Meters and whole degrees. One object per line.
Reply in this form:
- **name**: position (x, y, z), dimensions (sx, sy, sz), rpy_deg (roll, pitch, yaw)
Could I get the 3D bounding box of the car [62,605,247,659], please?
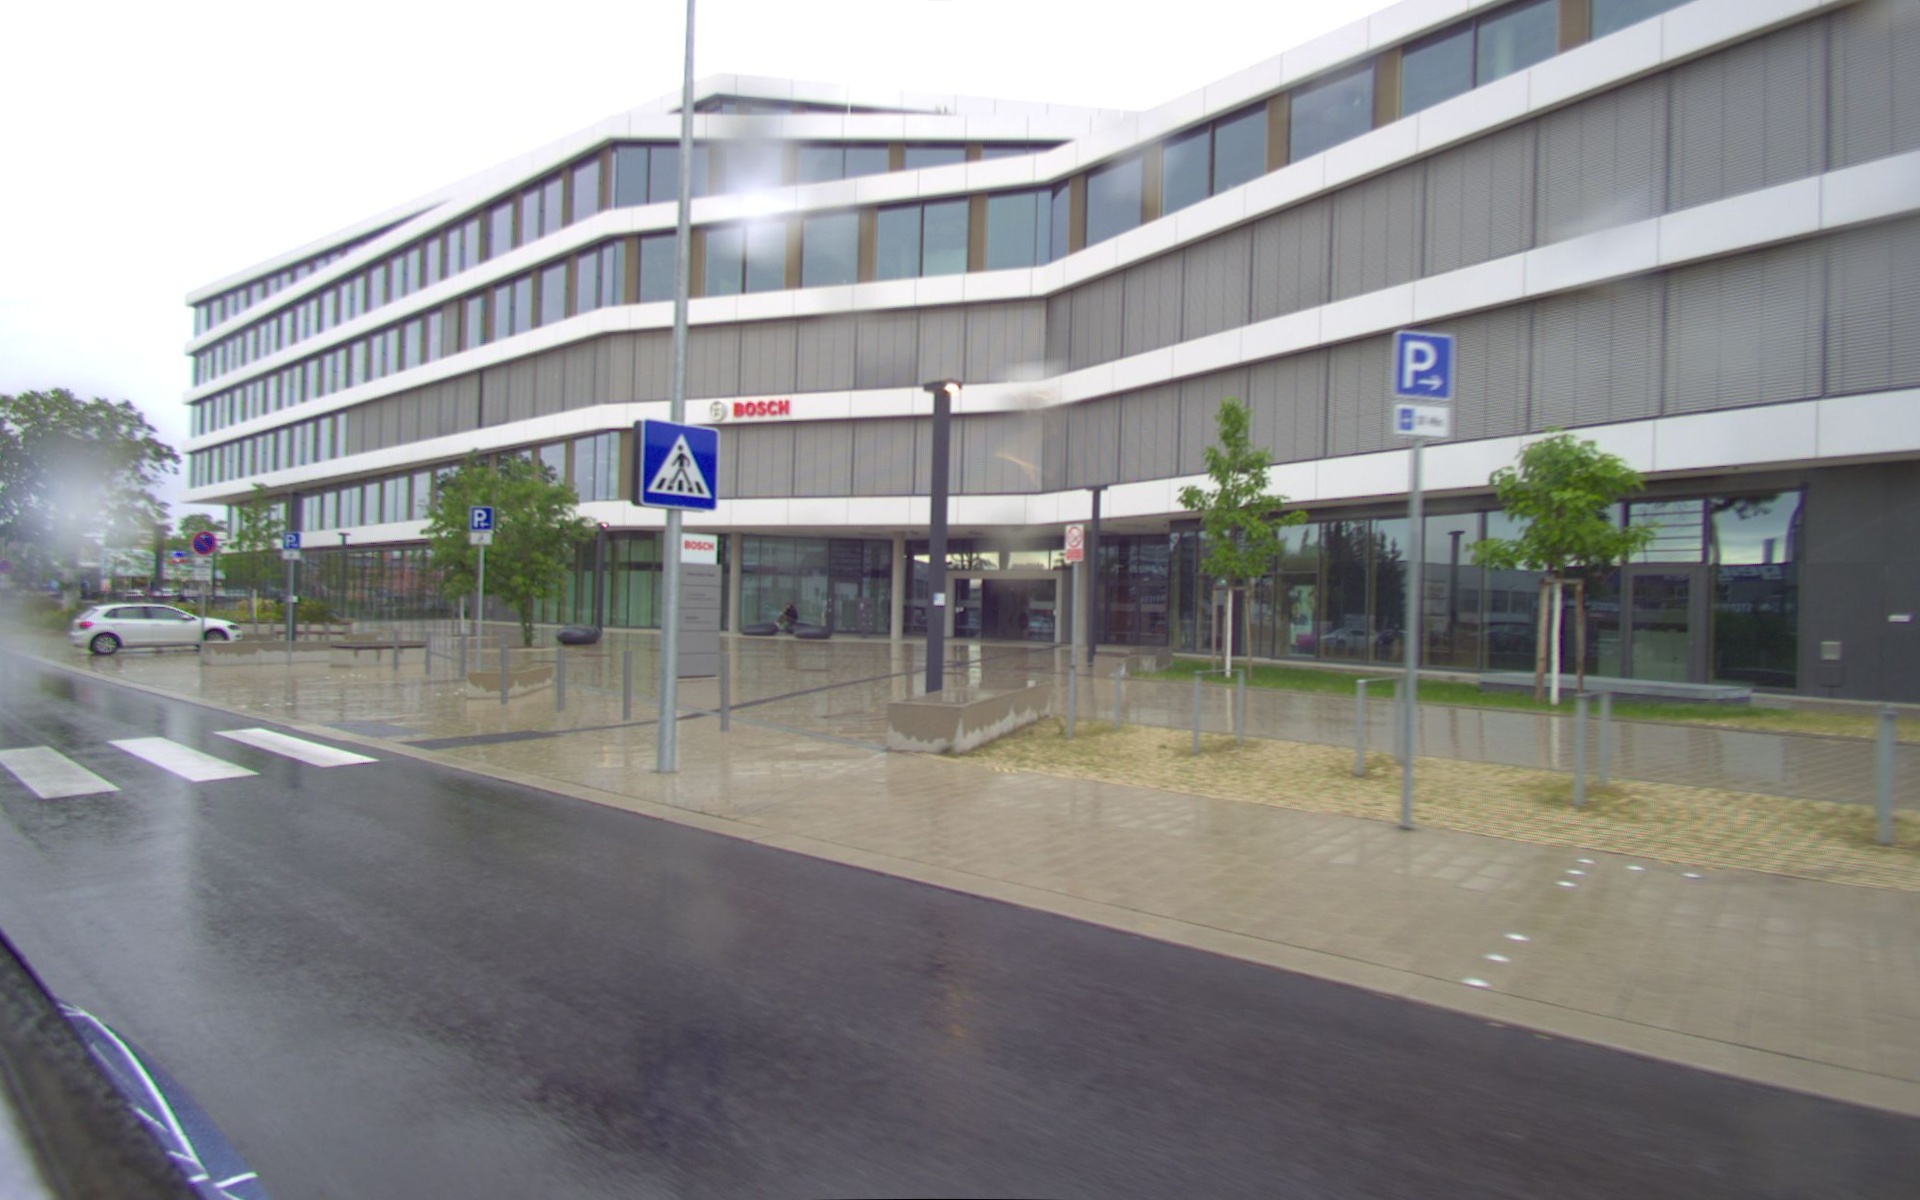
- **car**: position (-23.946, 0.896, 30.157), dimensions (2.001, 1.430, 4.110), rpy_deg (-1, 0, 45)
